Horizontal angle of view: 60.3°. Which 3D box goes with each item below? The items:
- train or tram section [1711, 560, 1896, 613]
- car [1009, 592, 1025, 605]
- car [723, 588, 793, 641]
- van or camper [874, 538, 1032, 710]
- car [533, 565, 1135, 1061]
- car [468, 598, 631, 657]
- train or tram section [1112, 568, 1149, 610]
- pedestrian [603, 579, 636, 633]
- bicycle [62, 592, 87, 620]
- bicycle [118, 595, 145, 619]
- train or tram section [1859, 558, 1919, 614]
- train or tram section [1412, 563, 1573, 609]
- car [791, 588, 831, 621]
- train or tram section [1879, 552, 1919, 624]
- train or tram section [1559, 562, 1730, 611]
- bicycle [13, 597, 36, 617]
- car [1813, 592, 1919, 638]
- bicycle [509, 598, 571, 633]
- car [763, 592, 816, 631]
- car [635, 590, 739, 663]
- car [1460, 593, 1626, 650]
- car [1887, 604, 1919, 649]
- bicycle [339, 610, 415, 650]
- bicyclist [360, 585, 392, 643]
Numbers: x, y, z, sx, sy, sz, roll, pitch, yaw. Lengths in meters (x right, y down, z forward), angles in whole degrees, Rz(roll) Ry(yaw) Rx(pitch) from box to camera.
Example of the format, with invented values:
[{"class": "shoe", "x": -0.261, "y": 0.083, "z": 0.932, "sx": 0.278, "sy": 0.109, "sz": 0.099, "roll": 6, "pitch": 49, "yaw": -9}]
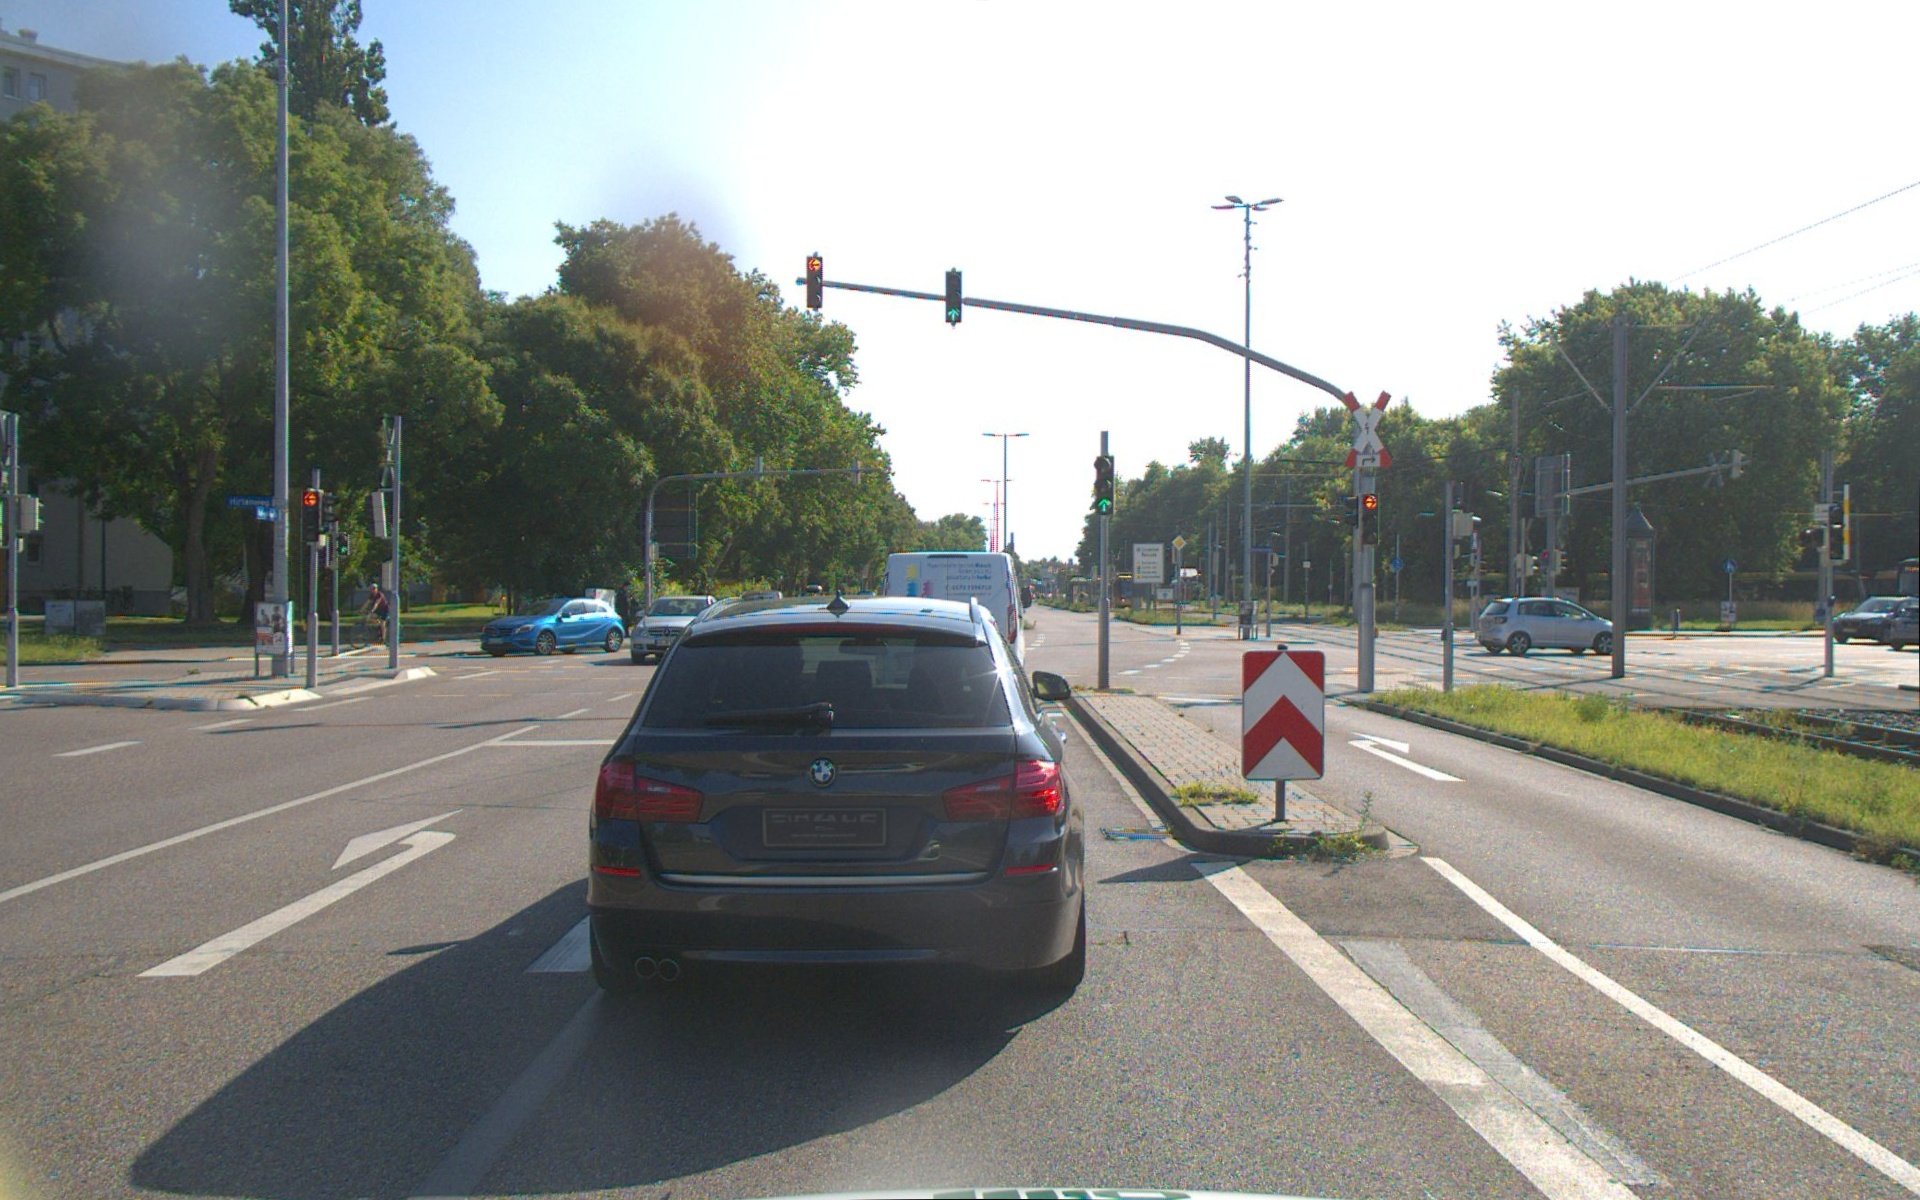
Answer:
[{"class": "train or tram section", "x": 60.927, "y": -0.946, "z": 119.877, "sx": 3.017, "sy": 3.642, "sz": 12.087, "roll": 0, "pitch": 0, "yaw": -34}, {"class": "car", "x": 6.684, "y": -0.194, "z": 193.651, "sx": 1.756, "sy": 1.512, "sz": 3.899, "roll": 0, "pitch": 0, "yaw": 0}, {"class": "car", "x": -6.409, "y": 0.427, "z": 52.844, "sx": 1.709, "sy": 1.589, "sz": 4.000, "roll": -2, "pitch": 0, "yaw": 0}, {"class": "van or camper", "x": -0.060, "y": 0.283, "z": 22.815, "sx": 1.952, "sy": 2.133, "sz": 4.599, "roll": 0, "pitch": 0, "yaw": 1}, {"class": "car", "x": -0.412, "y": 0.651, "z": 7.170, "sx": 1.864, "sy": 1.532, "sz": 4.064, "roll": 0, "pitch": 0, "yaw": -1}, {"class": "car", "x": -10.547, "y": 0.675, "z": 42.790, "sx": 1.745, "sy": 1.439, "sz": 4.239, "roll": 0, "pitch": 0, "yaw": 28}, {"class": "train or tram section", "x": 15.618, "y": -0.929, "z": 152.509, "sx": 2.738, "sy": 3.681, "sz": 12.960, "roll": 1, "pitch": 0, "yaw": 3}, {"class": "pedestrian", "x": -11.217, "y": 0.194, "z": 54.501, "sx": 0.798, "sy": 1.782, "sz": 0.932, "roll": 0, "pitch": 0, "yaw": 5}, {"class": "bicycle", "x": -35.068, "y": 0.247, "z": 65.483, "sx": 0.606, "sy": 1.085, "sz": 1.892, "roll": 1, "pitch": -2, "yaw": -37}, {"class": "bicycle", "x": -33.475, "y": 0.271, "z": 66.809, "sx": 0.663, "sy": 0.936, "sz": 2.377, "roll": 0, "pitch": 0, "yaw": -35}, {"class": "train or tram section", "x": 63.744, "y": -0.923, "z": 108.476, "sx": 2.981, "sy": 3.642, "sz": 12.231, "roll": 0, "pitch": 0, "yaw": 0}, {"class": "train or tram section", "x": 43.524, "y": -1.126, "z": 135.478, "sx": 12.170, "sy": 3.642, "sz": 3.048, "roll": 0, "pitch": 0, "yaw": 31}, {"class": "car", "x": -7.210, "y": 0.183, "z": 80.303, "sx": 1.753, "sy": 1.546, "sz": 3.998, "roll": -1, "pitch": 0, "yaw": -3}, {"class": "train or tram section", "x": 53.158, "y": -0.607, "z": 87.907, "sx": 11.721, "sy": 3.642, "sz": 3.015, "roll": 0, "pitch": 0, "yaw": -37}, {"class": "train or tram section", "x": 53.285, "y": -1.032, "z": 128.967, "sx": 11.984, "sy": 3.642, "sz": 3.043, "roll": 0, "pitch": 0, "yaw": 36}, {"class": "bicycle", "x": -36.606, "y": 0.270, "z": 64.691, "sx": 0.578, "sy": 0.721, "sz": 2.211, "roll": 0, "pitch": 1, "yaw": -35}, {"class": "car", "x": 32.830, "y": 0.508, "z": 58.939, "sx": 4.792, "sy": 1.590, "sz": 2.025, "roll": 0, "pitch": 0, "yaw": -29}, {"class": "bicycle", "x": -13.812, "y": 0.491, "z": 54.432, "sx": 1.870, "sy": 1.138, "sz": 0.632, "roll": 0, "pitch": 0, "yaw": -1}, {"class": "car", "x": -6.769, "y": 0.425, "z": 65.886, "sx": 1.851, "sy": 1.499, "sz": 4.098, "roll": -1, "pitch": 0, "yaw": -3}, {"class": "car", "x": -6.077, "y": 0.555, "z": 37.240, "sx": 1.668, "sy": 1.490, "sz": 4.368, "roll": -1, "pitch": 0, "yaw": -1}, {"class": "car", "x": 16.659, "y": 0.609, "z": 47.407, "sx": 4.107, "sy": 1.590, "sz": 1.855, "roll": 0, "pitch": 0, "yaw": -3}, {"class": "car", "x": 31.891, "y": 0.853, "z": 53.755, "sx": 3.482, "sy": 1.408, "sz": 1.590, "roll": 0, "pitch": 0, "yaw": -31}, {"class": "bicycle", "x": -16.179, "y": 0.827, "z": 45.920, "sx": 0.608, "sy": 1.058, "sz": 2.066, "roll": 0, "pitch": 0, "yaw": 32}, {"class": "bicyclist", "x": -16.200, "y": 0.388, "z": 45.883, "sx": 0.596, "sy": 1.587, "sz": 0.601, "roll": 0, "pitch": 0, "yaw": 32}]
